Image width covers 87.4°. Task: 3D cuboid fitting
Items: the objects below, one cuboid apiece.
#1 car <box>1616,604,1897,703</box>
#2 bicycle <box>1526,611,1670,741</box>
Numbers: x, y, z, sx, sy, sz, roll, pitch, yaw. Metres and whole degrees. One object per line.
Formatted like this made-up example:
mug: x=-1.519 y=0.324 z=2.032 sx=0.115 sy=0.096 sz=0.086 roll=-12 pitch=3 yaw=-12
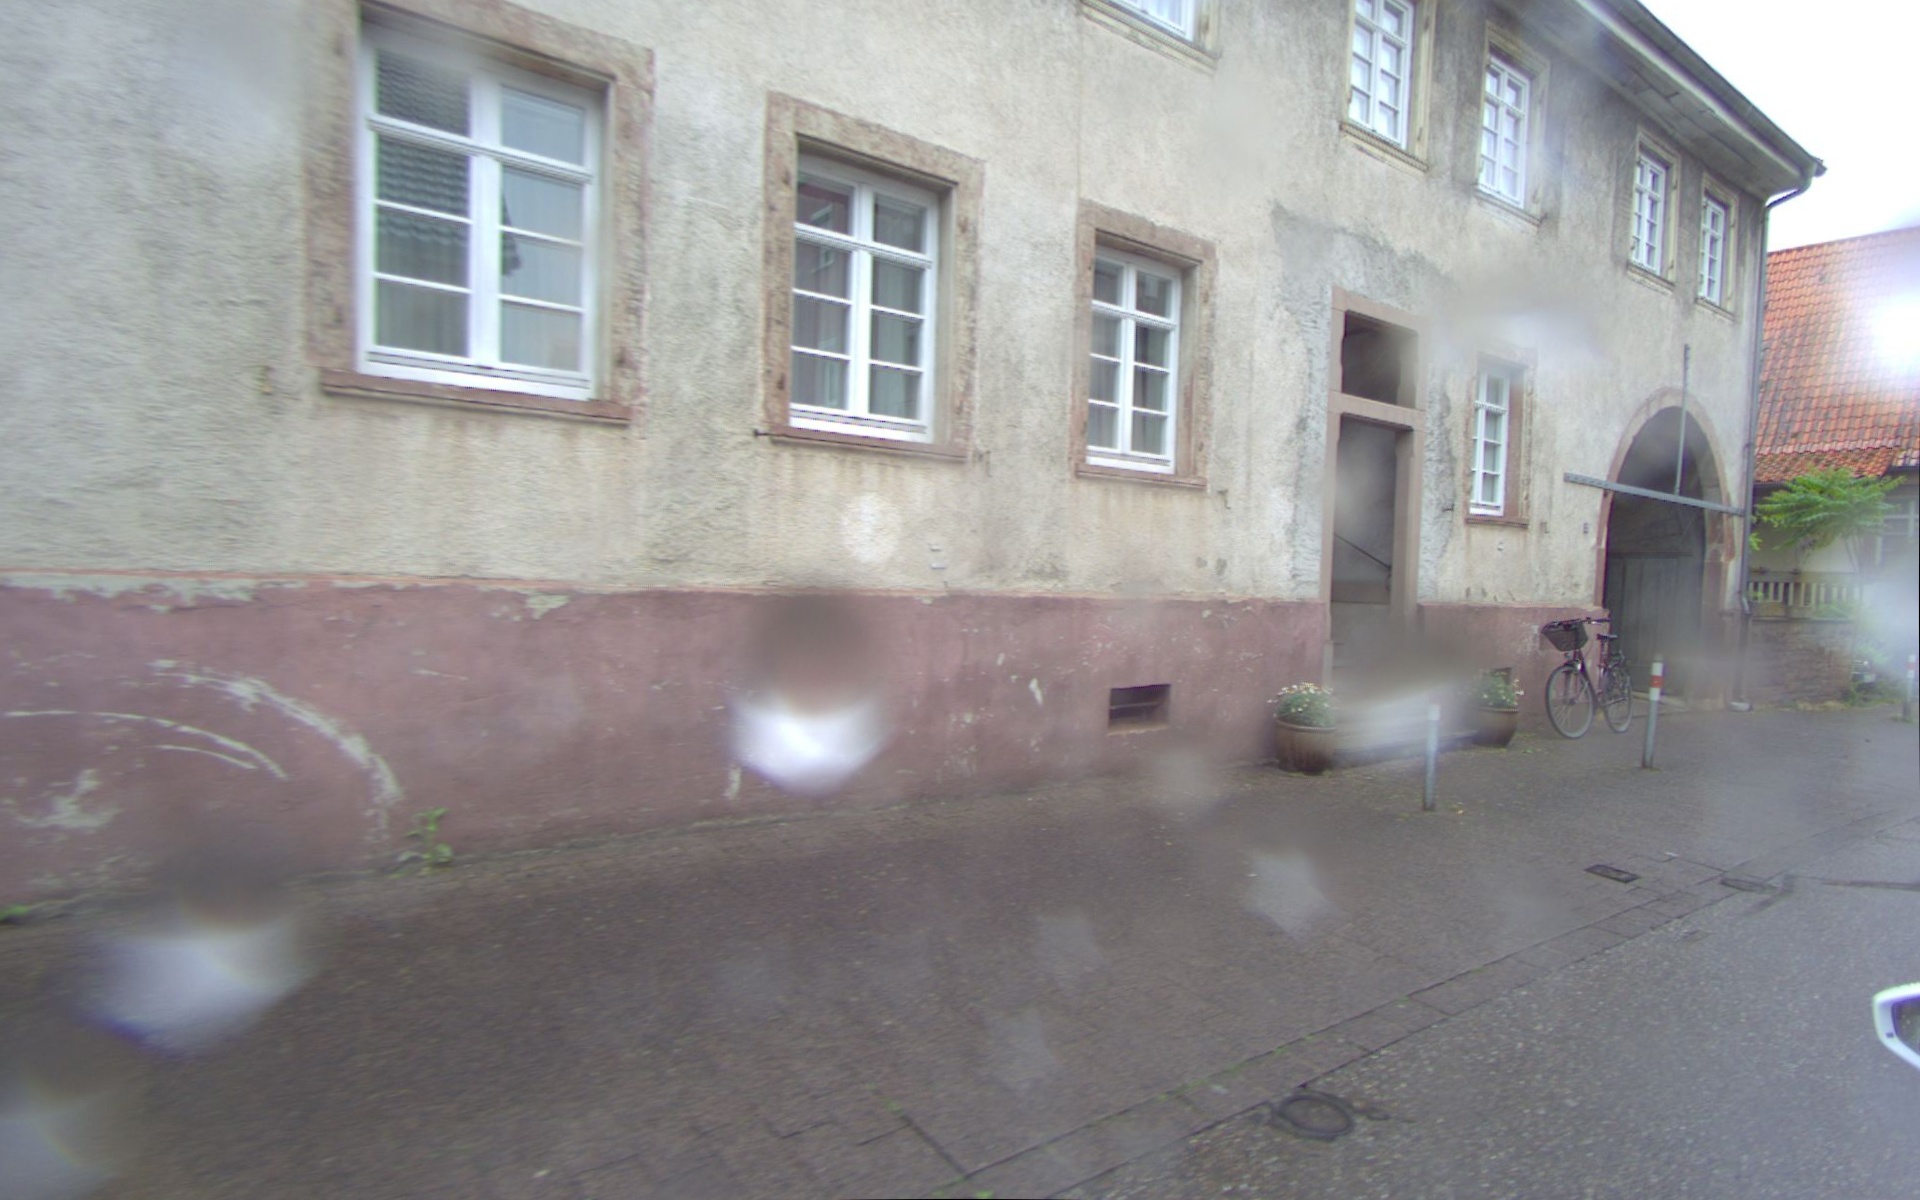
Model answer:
car: x=13.808 y=0.858 z=17.599 sx=1.577 sy=1.394 sz=3.507 roll=1 pitch=2 yaw=-33
bicycle: x=6.468 y=0.743 z=10.150 sx=1.816 sy=1.196 sz=0.480 roll=2 pitch=2 yaw=-34
